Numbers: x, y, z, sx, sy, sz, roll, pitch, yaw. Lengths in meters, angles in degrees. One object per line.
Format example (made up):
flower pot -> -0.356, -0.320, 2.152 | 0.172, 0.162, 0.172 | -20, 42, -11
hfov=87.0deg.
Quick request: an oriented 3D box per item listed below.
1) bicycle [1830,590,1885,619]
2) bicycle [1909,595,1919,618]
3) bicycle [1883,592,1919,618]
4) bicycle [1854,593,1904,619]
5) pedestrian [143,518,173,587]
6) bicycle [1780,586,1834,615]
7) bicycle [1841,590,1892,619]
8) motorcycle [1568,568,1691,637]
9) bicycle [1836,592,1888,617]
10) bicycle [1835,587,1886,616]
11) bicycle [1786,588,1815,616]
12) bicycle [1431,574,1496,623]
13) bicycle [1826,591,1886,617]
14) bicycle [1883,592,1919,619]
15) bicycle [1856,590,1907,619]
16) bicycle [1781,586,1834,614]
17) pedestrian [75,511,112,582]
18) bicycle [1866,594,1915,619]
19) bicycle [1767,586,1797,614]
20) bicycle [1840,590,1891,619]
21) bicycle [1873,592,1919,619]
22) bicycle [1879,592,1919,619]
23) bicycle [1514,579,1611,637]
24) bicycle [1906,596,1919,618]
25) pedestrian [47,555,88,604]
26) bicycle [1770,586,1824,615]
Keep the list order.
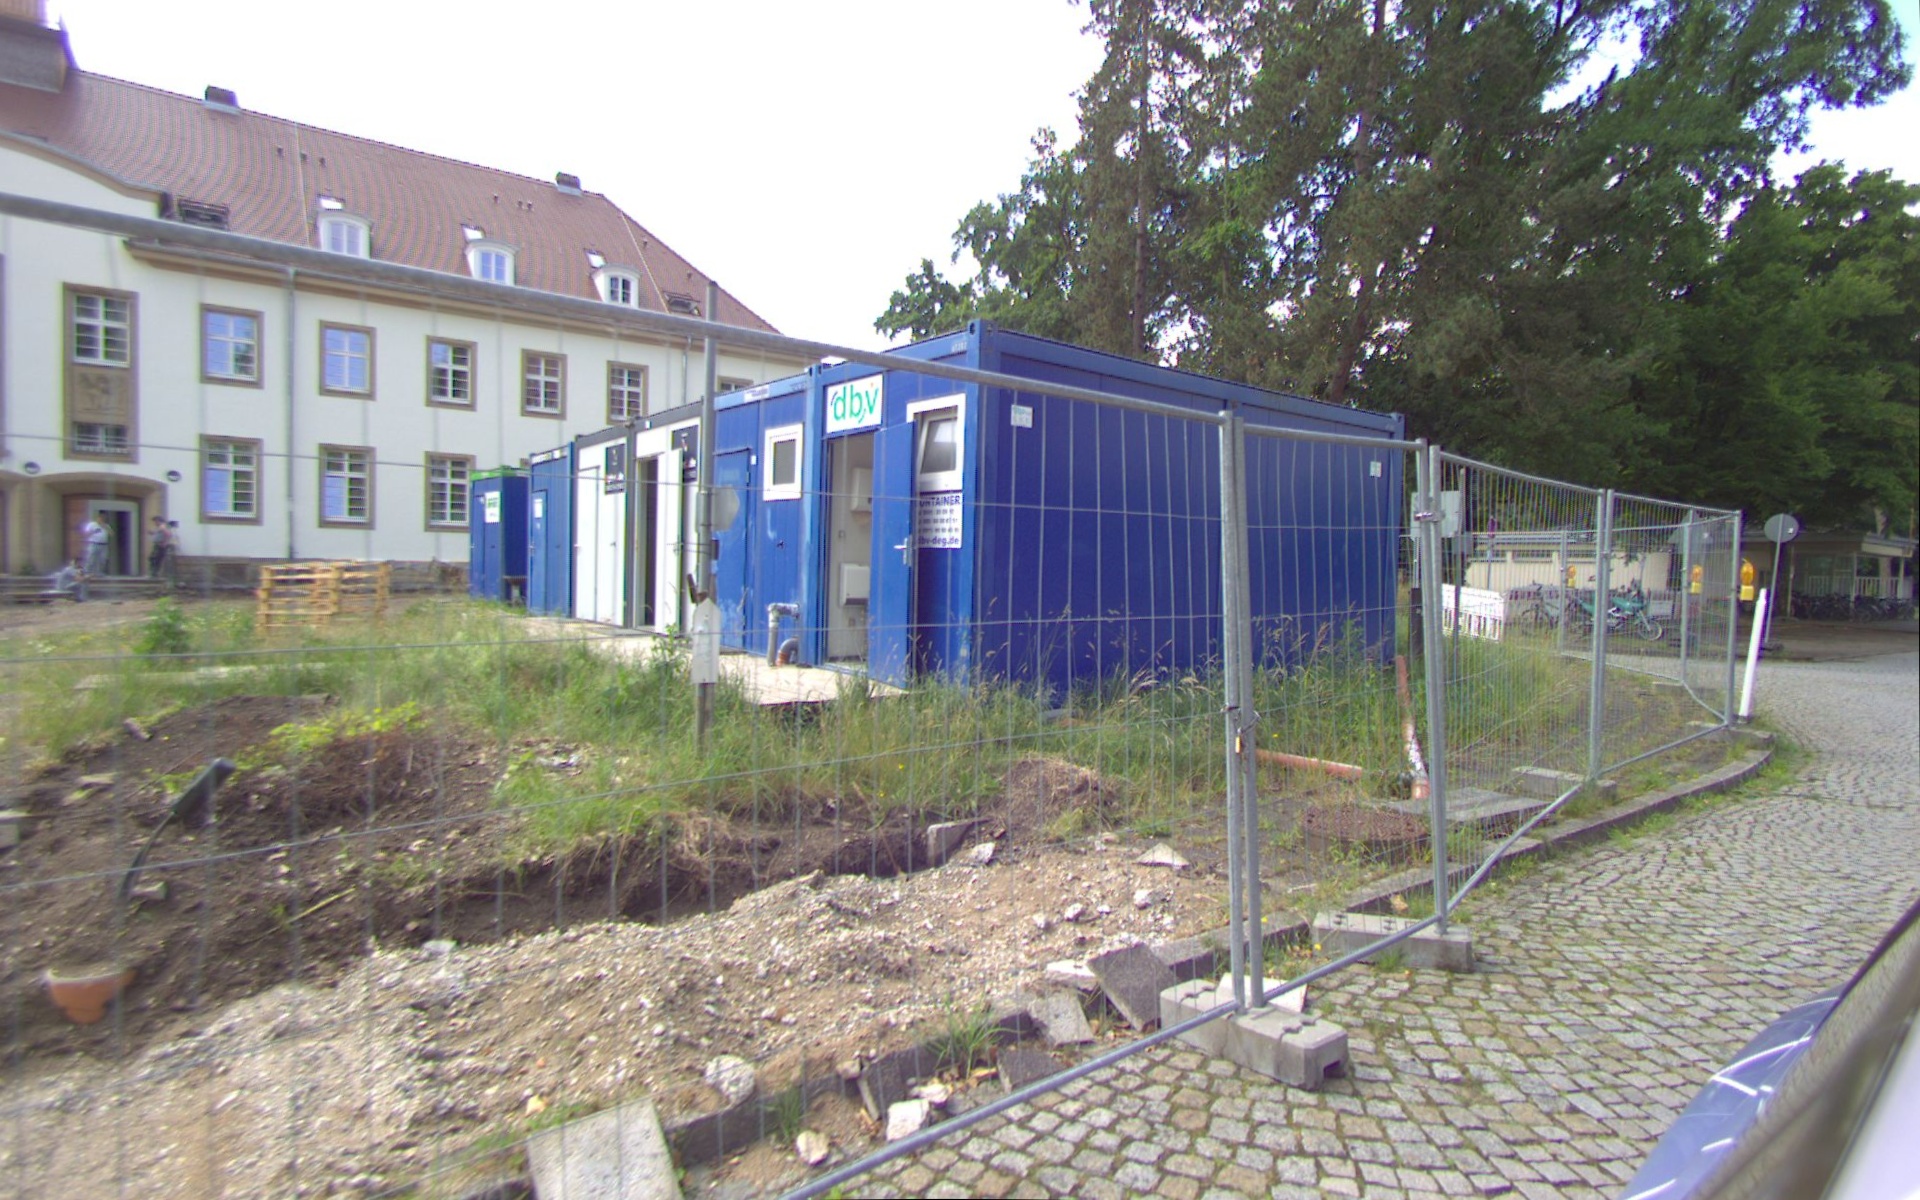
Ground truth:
bicycle -> 38.512, 0.176, 43.454 | 1.674, 1.121, 0.333 | 5, 3, 40
bicycle -> 46.057, 0.338, 48.235 | 1.145, 1.076, 0.284 | 2, 1, 33
bicycle -> 45.236, 0.262, 48.327 | 0.350, 1.154, 1.615 | 0, 4, -44
bicycle -> 42.081, 0.256, 46.353 | 1.627, 1.062, 0.330 | 5, 3, 39
pedestrian -> -21.927, -1.292, 27.661 | 0.635, 1.857, 0.877 | 0, 2, -40
bicycle -> 38.397, 0.004, 45.885 | 0.597, 1.179, 1.744 | 0, 4, -41
bicycle -> 40.951, 0.181, 45.719 | 1.629, 1.204, 0.413 | 5, 3, 41
motorcycle -> 15.984, 0.034, 24.215 | 0.744, 1.503, 2.281 | 0, 3, -41
bicycle -> 39.636, 0.176, 44.499 | 1.617, 0.988, 0.320 | 4, 3, 23
bicycle -> 40.044, 0.062, 45.033 | 1.628, 1.204, 0.467 | 5, 3, 40
bicycle -> 35.621, 0.066, 42.884 | 1.605, 1.130, 0.598 | 0, 3, -39
bicycle -> 13.011, -0.032, 26.127 | 1.868, 1.183, 0.644 | 1, 2, -35
bicycle -> 39.016, 0.178, 44.076 | 1.727, 0.988, 0.753 | 4, 3, 23
bicycle -> 44.473, 0.268, 47.515 | 0.320, 1.154, 1.615 | 0, 4, -44
bicycle -> 41.786, 0.181, 45.921 | 1.629, 1.204, 0.492 | 5, 3, 41
bicycle -> 39.003, -0.006, 46.583 | 0.597, 1.179, 1.744 | 0, 4, -41
pedestrian -> -23.189, -1.421, 27.094 | 0.721, 1.857, 0.646 | 0, 1, -39
bicycle -> 42.730, 0.294, 46.487 | 0.320, 1.062, 1.593 | 0, 4, -44
bicycle -> 35.247, 0.003, 43.384 | 1.605, 1.130, 0.598 | 0, 3, -39
bicycle -> 40.506, 0.187, 45.311 | 1.629, 1.204, 0.413 | 5, 3, 41
bicycle -> 43.728, 0.247, 47.188 | 0.320, 1.154, 1.615 | 0, 4, -44
bicycle -> 44.685, 0.266, 47.971 | 0.350, 1.154, 1.615 | 0, 4, -44
bicycle -> 13.796, 0.162, 23.239 | 0.642, 1.212, 1.910 | 1, 2, -18
bicycle -> 46.379, 0.346, 48.540 | 1.392, 1.059, 0.336 | 2, 1, 27
pedestrian -> -22.670, -0.534, 25.723 | 0.709, 1.225, 0.669 | 0, 2, -36
bicycle -> 37.517, 0.010, 45.376 | 0.597, 1.179, 1.744 | 0, 4, -41
